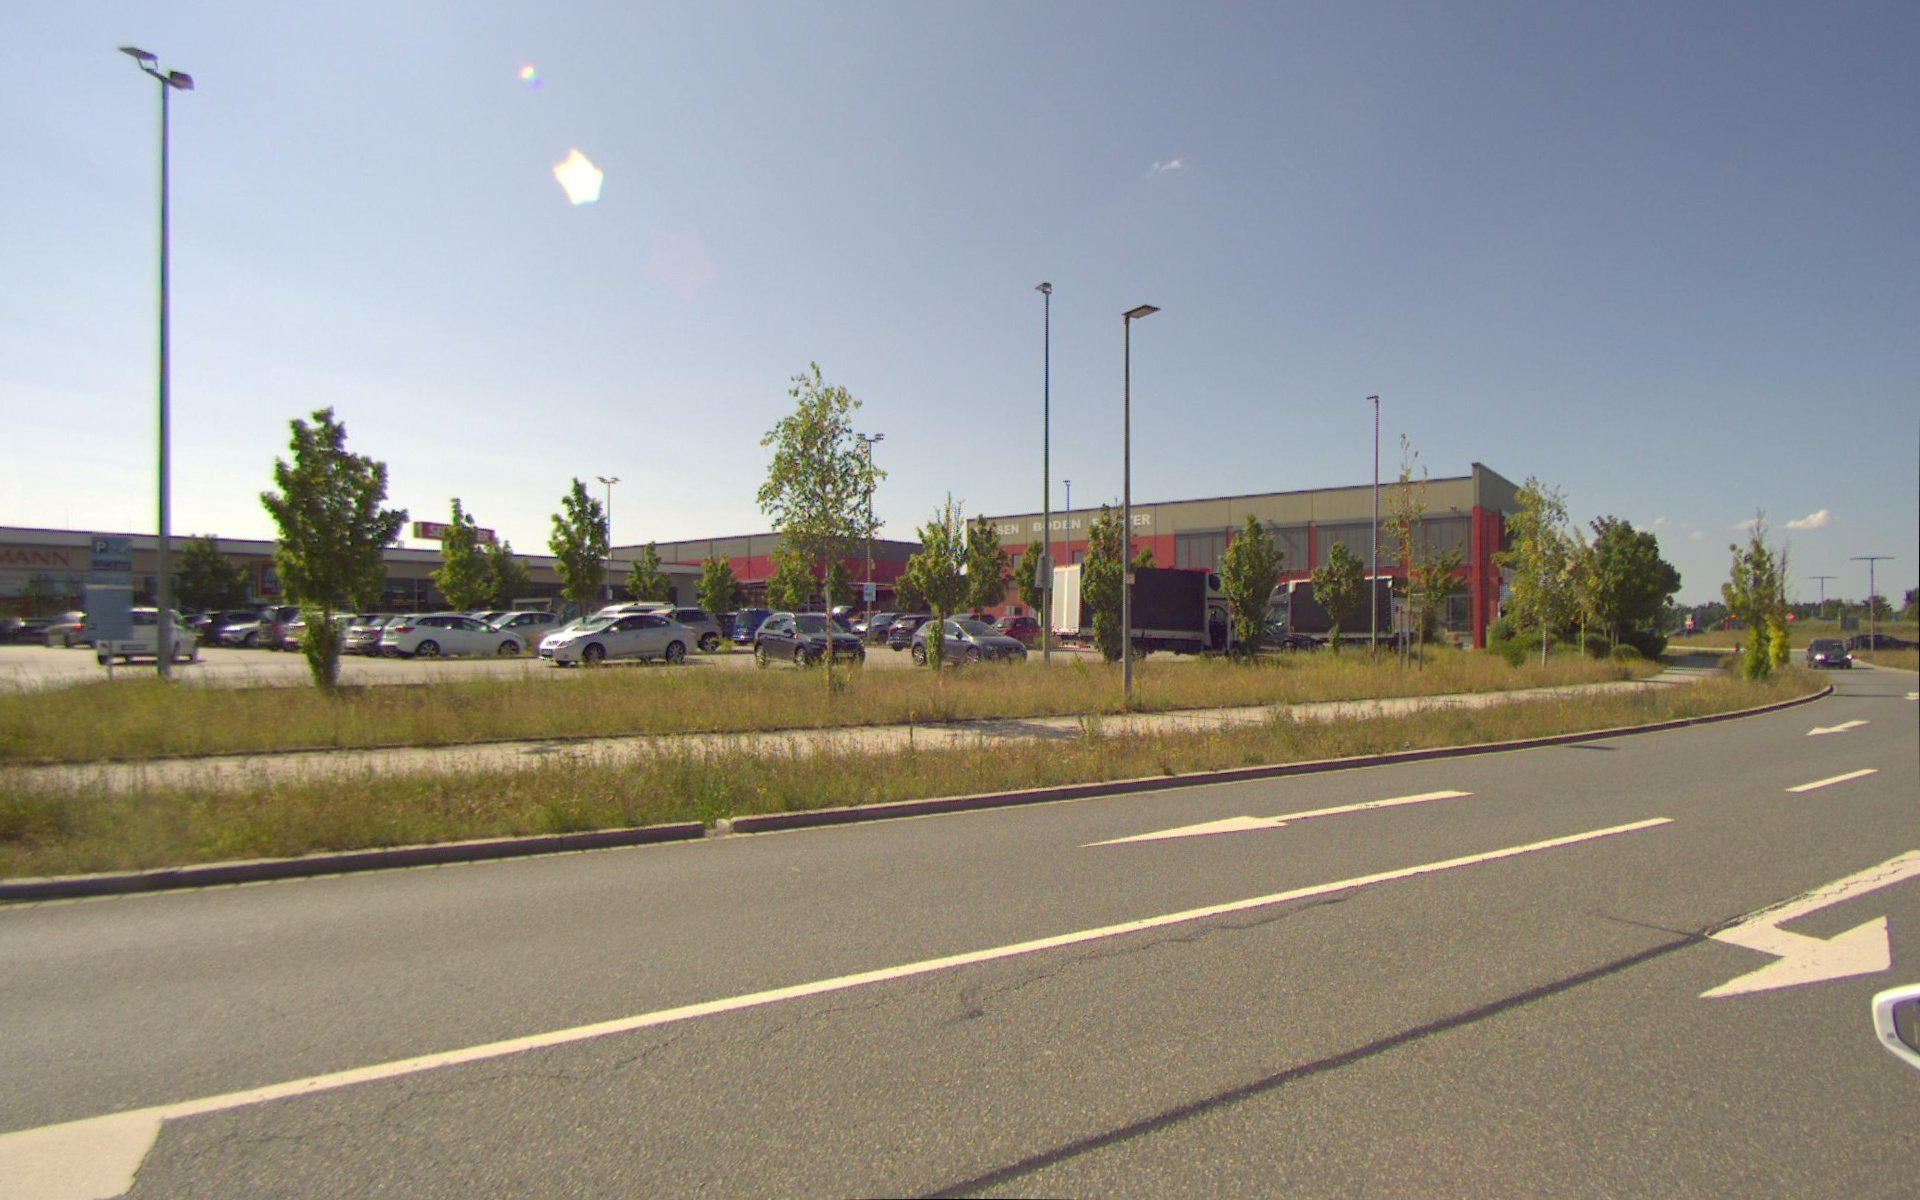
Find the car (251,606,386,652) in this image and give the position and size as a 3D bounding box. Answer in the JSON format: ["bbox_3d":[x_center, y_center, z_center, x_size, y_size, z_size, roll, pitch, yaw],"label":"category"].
[{"bbox_3d":[-26.722,1.213,41.972,1.886,1.817,4.368,0,-2,35],"label":"car"}]

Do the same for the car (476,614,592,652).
[{"bbox_3d":[-18.584,1.438,43.970,1.810,1.603,4.362,-1,-2,39],"label":"car"}]

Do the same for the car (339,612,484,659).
[{"bbox_3d":[-20.366,1.323,37.421,1.888,1.639,4.362,-1,-2,39],"label":"car"}]

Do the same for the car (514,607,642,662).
[{"bbox_3d":[-14.965,1.353,39.529,1.810,2.024,4.362,-1,-2,39],"label":"car"}]

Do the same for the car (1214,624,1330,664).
[{"bbox_3d":[13.113,1.813,42.338,4.320,1.572,1.828,-1,-2,43],"label":"car"}]

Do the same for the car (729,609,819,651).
[{"bbox_3d":[-9.337,1.501,50.706,1.810,2.020,4.362,-1,-2,39],"label":"car"}]

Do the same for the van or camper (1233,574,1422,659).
[{"bbox_3d":[16.343,0.771,45.070,7.612,3.514,2.540,-1,-2,44],"label":"van or camper"}]

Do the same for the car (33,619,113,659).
[{"bbox_3d":[-37.060,1.603,41.944,3.938,1.568,1.832,-1,-2,39],"label":"car"}]

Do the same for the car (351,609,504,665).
[{"bbox_3d":[-18.693,1.286,35.395,1.888,1.827,4.362,-1,-2,39],"label":"car"}]

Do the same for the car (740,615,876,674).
[{"bbox_3d":[-4.257,1.174,27.600,1.820,1.477,4.544,2,-2,-36],"label":"car"}]

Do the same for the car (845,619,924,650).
[{"bbox_3d":[-4.000,1.861,53.843,1.808,1.583,4.366,-1,-2,36],"label":"car"}]

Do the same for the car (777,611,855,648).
[{"bbox_3d":[-8.149,1.667,57.164,1.808,2.020,4.366,0,-2,36],"label":"car"}]

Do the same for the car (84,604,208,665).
[{"bbox_3d":[-22.613,0.949,28.074,1.893,1.568,3.972,1,-2,-28],"label":"car"}]

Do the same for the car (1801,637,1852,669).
[{"bbox_3d":[51.985,3.168,60.335,1.926,1.818,4.411,-2,-3,36],"label":"car"}]

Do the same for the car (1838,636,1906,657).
[{"bbox_3d":[70.607,3.559,77.835,3.741,1.537,1.765,-1,-2,39],"label":"car"}]

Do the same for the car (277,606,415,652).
[{"bbox_3d":[-24.804,1.191,40.719,1.885,1.749,4.370,0,-2,33],"label":"car"}]

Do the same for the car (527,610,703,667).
[{"bbox_3d":[-10.013,1.117,29.470,1.811,1.532,4.598,-1,-2,41],"label":"car"}]

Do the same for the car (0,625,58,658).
[{"bbox_3d":[-48.663,2.146,52.441,4.288,1.655,1.710,-1,-2,39],"label":"car"}]

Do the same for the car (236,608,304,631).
[{"bbox_3d":[-58.081,1.644,84.645,1.888,1.814,4.362,-1,-2,39],"label":"car"}]

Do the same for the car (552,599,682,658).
[{"bbox_3d":[-12.943,1.076,38.079,1.810,2.092,4.362,-1,-2,39],"label":"car"}]

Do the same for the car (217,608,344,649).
[{"bbox_3d":[-30.638,1.280,45.413,1.886,1.747,4.368,0,-2,35],"label":"car"}]

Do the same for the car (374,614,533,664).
[{"bbox_3d":[-16.727,1.282,33.377,1.810,1.532,4.362,-1,-2,39],"label":"car"}]

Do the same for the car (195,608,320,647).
[{"bbox_3d":[-32.733,1.291,46.905,1.886,1.740,4.368,0,-2,35],"label":"car"}]

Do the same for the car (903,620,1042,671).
[{"bbox_3d":[0.290,1.329,30.242,1.956,1.401,4.393,2,-2,-36],"label":"car"}]

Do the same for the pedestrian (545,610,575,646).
[{"bbox_3d":[-23.024,1.617,57.813,1.076,2.075,1.245,-1,-2,39],"label":"pedestrian"}]

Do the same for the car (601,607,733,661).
[{"bbox_3d":[-10.585,1.244,36.559,1.810,1.847,4.362,-1,-2,39],"label":"car"}]

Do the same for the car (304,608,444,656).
[{"bbox_3d":[-22.728,1.237,39.144,1.883,1.740,4.375,0,-2,29],"label":"car"}]

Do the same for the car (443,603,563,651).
[{"bbox_3d":[-20.658,1.225,45.565,1.810,2.051,4.613,-1,-2,39],"label":"car"}]

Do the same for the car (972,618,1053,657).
[{"bbox_3d":[2.596,1.809,48.849,1.808,1.796,4.366,0,-2,36],"label":"car"}]

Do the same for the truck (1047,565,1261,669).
[{"bbox_3d":[6.987,0.666,36.056,7.376,3.510,2.315,1,-1,-18],"label":"truck"}]
